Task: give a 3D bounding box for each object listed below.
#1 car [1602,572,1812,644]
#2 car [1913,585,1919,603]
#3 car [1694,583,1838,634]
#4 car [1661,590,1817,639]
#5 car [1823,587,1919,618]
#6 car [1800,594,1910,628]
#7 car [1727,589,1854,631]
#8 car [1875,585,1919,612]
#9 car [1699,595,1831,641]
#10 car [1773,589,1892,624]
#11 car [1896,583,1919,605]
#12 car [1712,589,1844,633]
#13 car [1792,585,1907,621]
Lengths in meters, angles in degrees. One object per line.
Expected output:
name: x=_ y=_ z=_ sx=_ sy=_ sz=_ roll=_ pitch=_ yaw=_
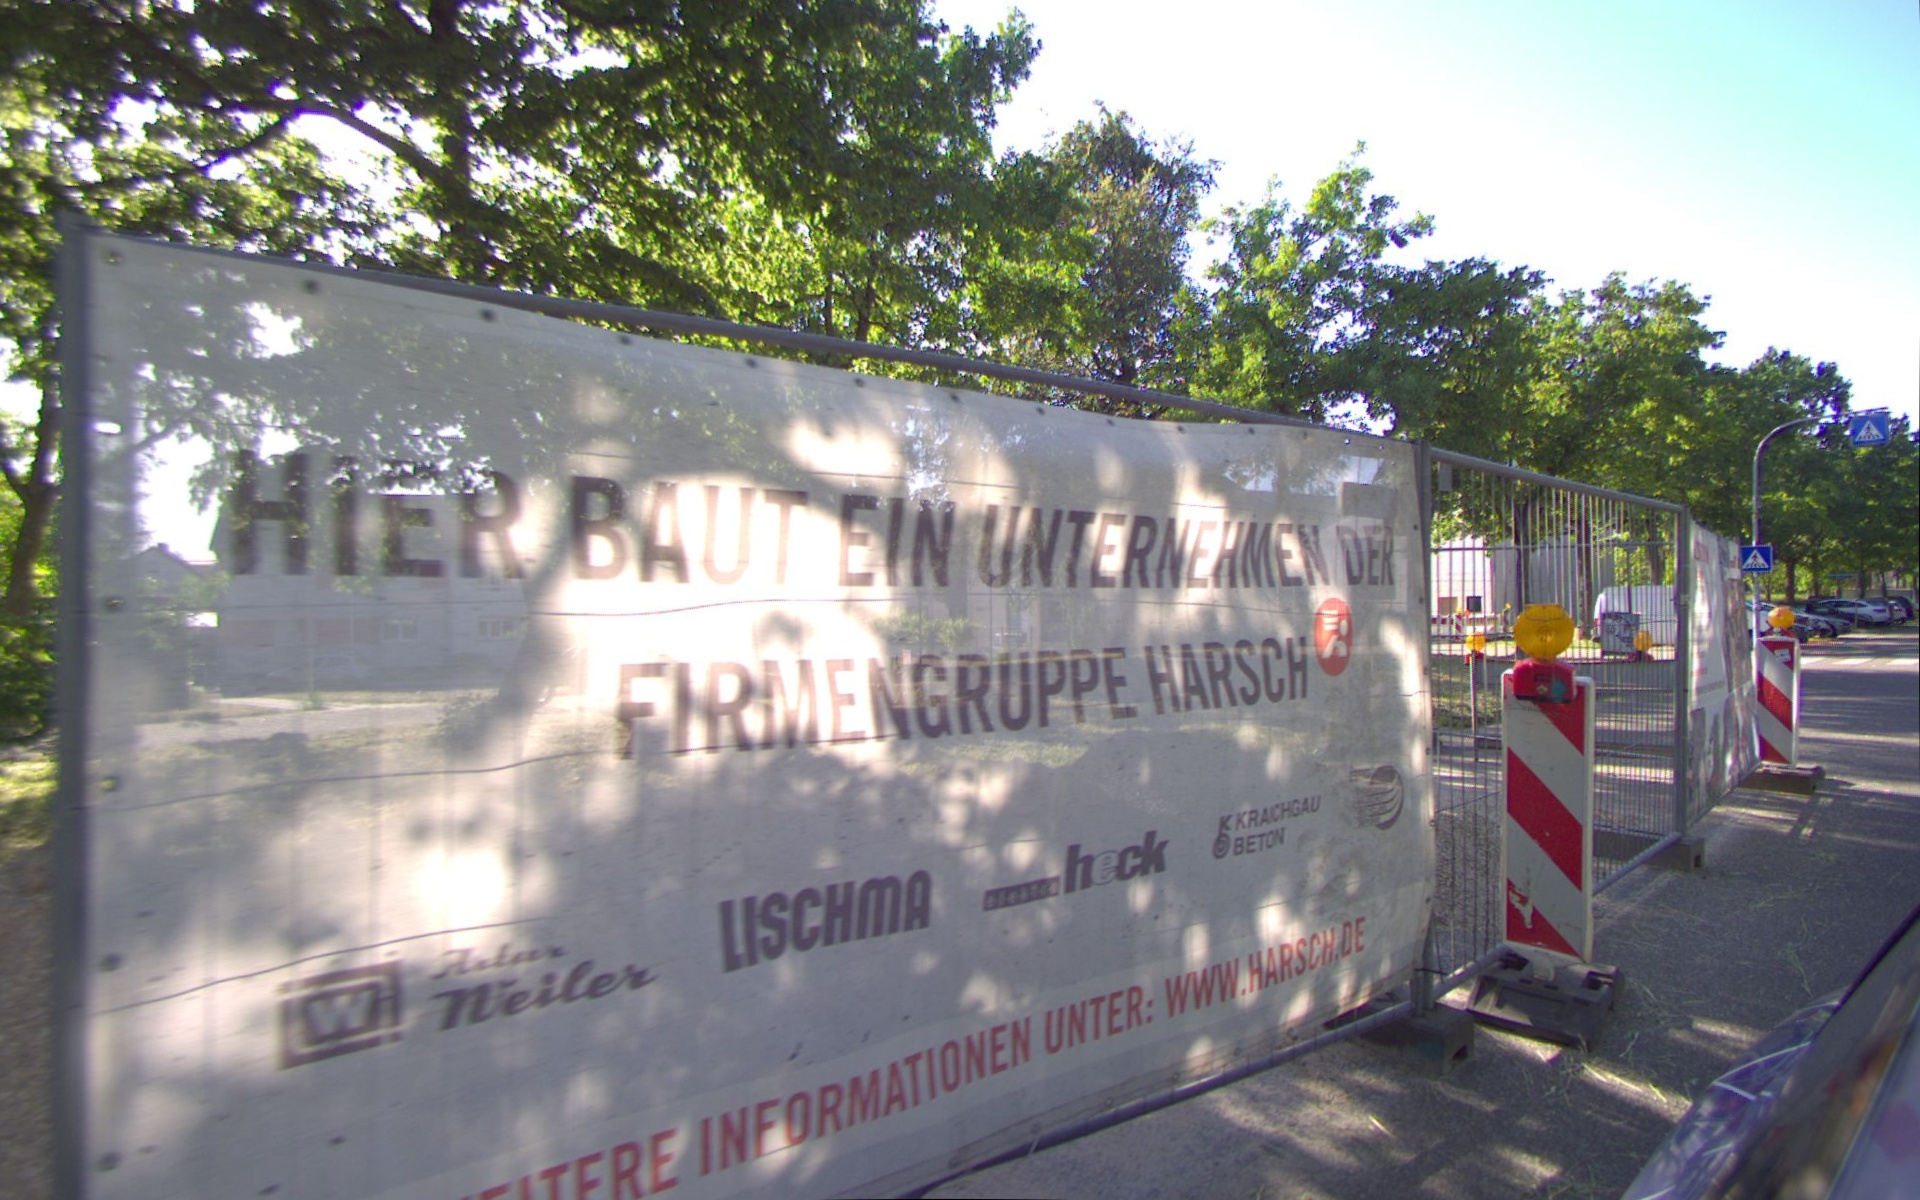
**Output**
car: x=23.430 y=0.263 z=31.929 sx=1.858 sy=2.108 sz=5.039 roll=0 pitch=-1 yaw=-42
car: x=98.563 y=-0.677 z=101.492 sx=1.915 sy=1.873 sz=4.146 roll=0 pitch=-2 yaw=-41
car: x=30.777 y=0.343 z=38.748 sx=1.682 sy=1.817 sz=4.016 roll=0 pitch=-2 yaw=-40
car: x=27.239 y=0.525 z=35.482 sx=1.726 sy=1.583 sz=3.993 roll=0 pitch=-2 yaw=-40
car: x=55.369 y=0.168 z=61.382 sx=1.505 sy=1.765 sz=4.391 roll=0 pitch=-2 yaw=-40
car: x=50.098 y=0.648 z=56.698 sx=1.505 sy=1.765 sz=4.391 roll=0 pitch=-2 yaw=-40
car: x=36.066 y=0.450 z=44.046 sx=1.506 sy=1.681 sz=4.016 roll=0 pitch=-2 yaw=-40
car: x=71.889 y=-0.138 z=76.322 sx=1.831 sy=1.873 sz=3.992 roll=0 pitch=-2 yaw=-41
car: x=29.180 y=0.684 z=36.767 sx=1.422 sy=1.562 sz=3.513 roll=0 pitch=-2 yaw=-40
car: x=44.828 y=0.358 z=52.088 sx=1.505 sy=1.663 sz=4.391 roll=0 pitch=-2 yaw=-40
car: x=86.816 y=-0.567 z=90.649 sx=1.915 sy=1.873 sz=4.146 roll=0 pitch=-2 yaw=-41
car: x=33.906 y=0.476 z=42.025 sx=1.506 sy=1.701 sz=4.016 roll=0 pitch=-2 yaw=-40
car: x=47.257 y=0.180 z=53.838 sx=1.505 sy=1.765 sz=4.391 roll=0 pitch=-2 yaw=-40
